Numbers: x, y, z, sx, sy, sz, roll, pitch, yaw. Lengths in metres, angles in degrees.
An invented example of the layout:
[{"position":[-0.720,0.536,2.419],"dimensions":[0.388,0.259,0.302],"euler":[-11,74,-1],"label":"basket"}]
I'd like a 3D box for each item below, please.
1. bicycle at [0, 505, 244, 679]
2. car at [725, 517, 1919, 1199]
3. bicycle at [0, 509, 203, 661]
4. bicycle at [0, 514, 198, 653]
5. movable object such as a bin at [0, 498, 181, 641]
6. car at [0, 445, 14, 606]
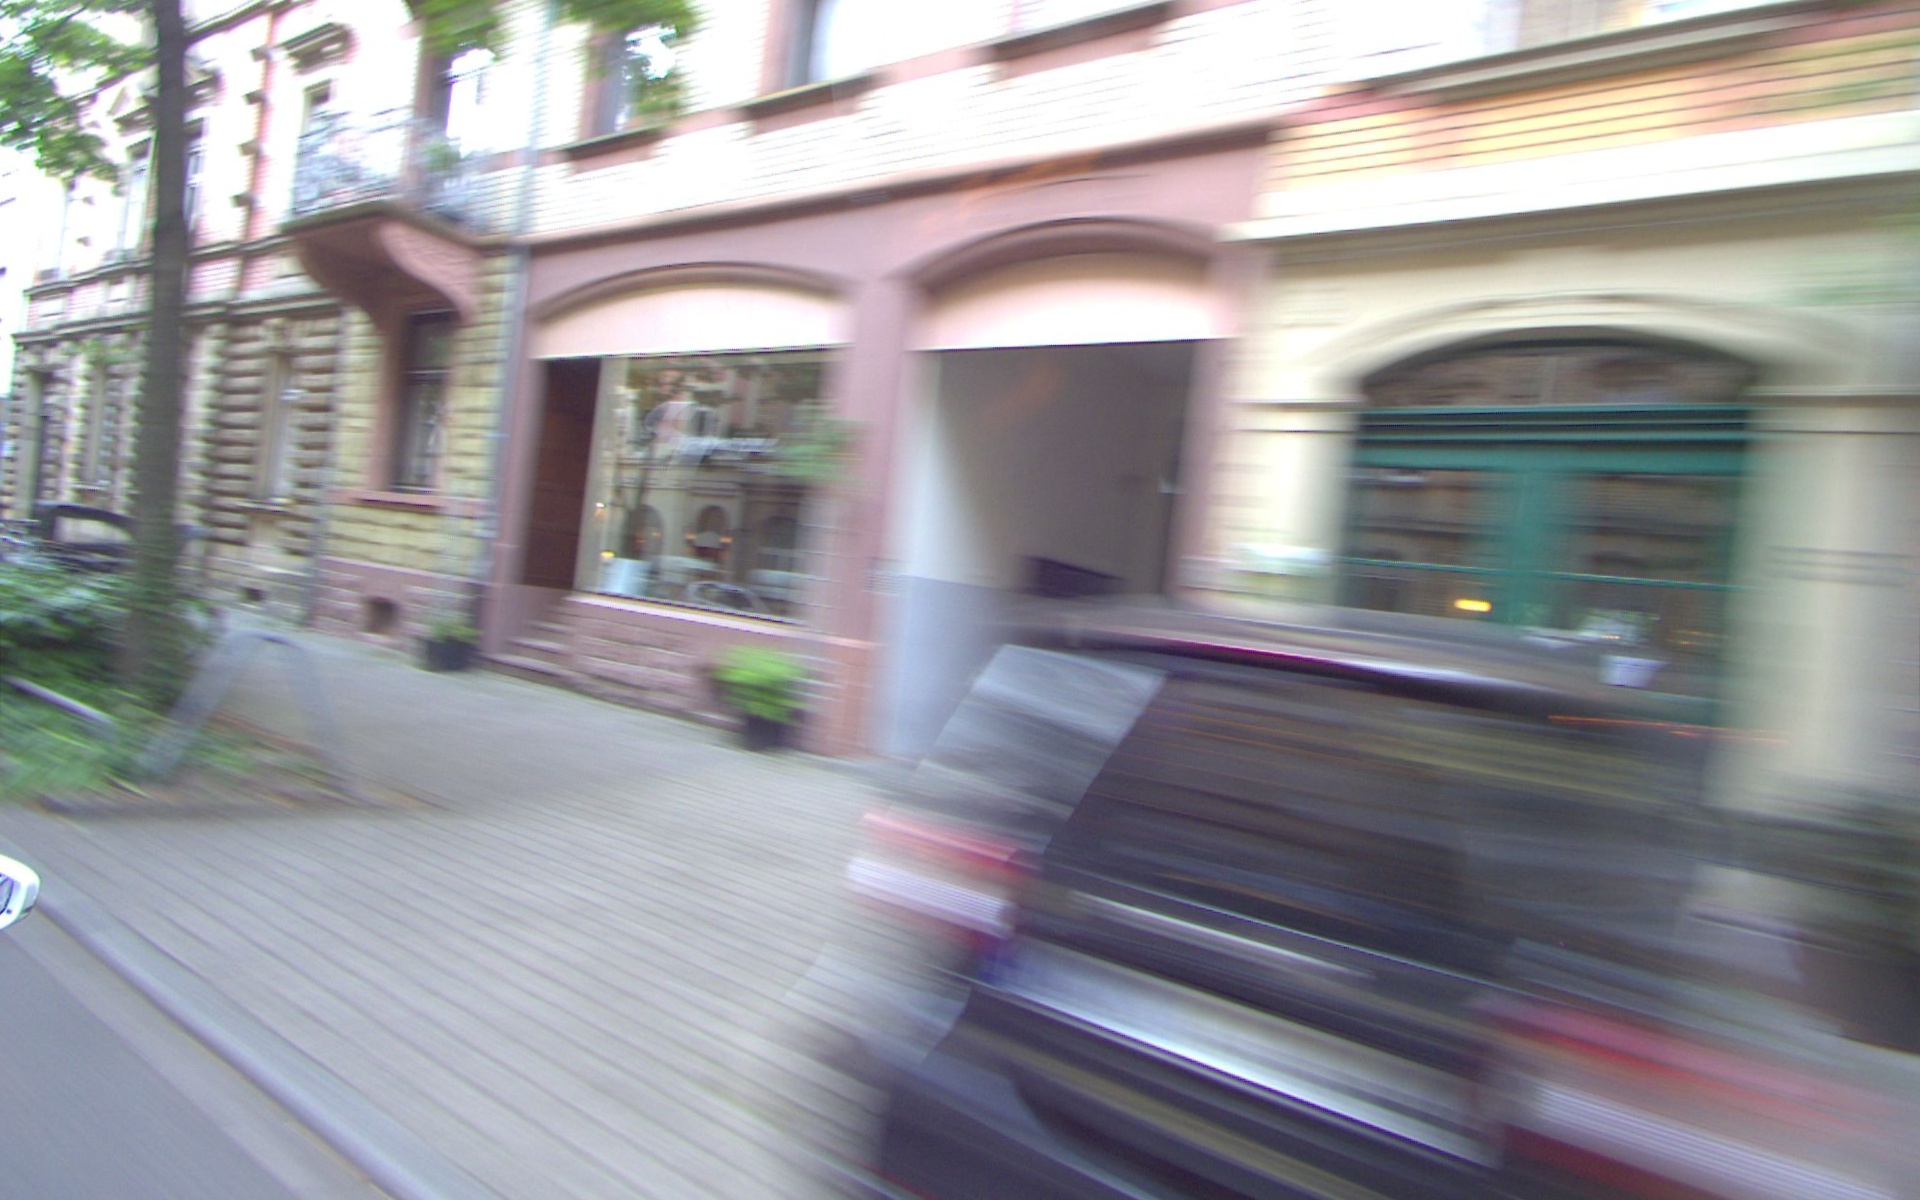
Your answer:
[{"position":[-7.266,-0.062,8.492],"dimensions":[0.788,1.311,1.761],"euler":[8,2,32],"label":"bicycle"},{"position":[1.081,0.772,2.615],"dimensions":[1.771,1.621,2.796],"euler":[7,3,33],"label":"car"},{"position":[-7.916,-0.122,8.963],"dimensions":[0.573,1.213,1.696],"euler":[8,0,36],"label":"bicycle"},{"position":[-8.321,-0.143,9.472],"dimensions":[0.573,1.158,1.658],"euler":[8,0,36],"label":"bicycle"},{"position":[-9.103,-0.305,9.816],"dimensions":[0.758,1.323,2.213],"euler":[7,3,35],"label":"movable object such as a bin"},{"position":[-13.540,-1.135,12.129],"dimensions":[4.732,1.858,2.013],"euler":[7,2,33],"label":"car"}]
